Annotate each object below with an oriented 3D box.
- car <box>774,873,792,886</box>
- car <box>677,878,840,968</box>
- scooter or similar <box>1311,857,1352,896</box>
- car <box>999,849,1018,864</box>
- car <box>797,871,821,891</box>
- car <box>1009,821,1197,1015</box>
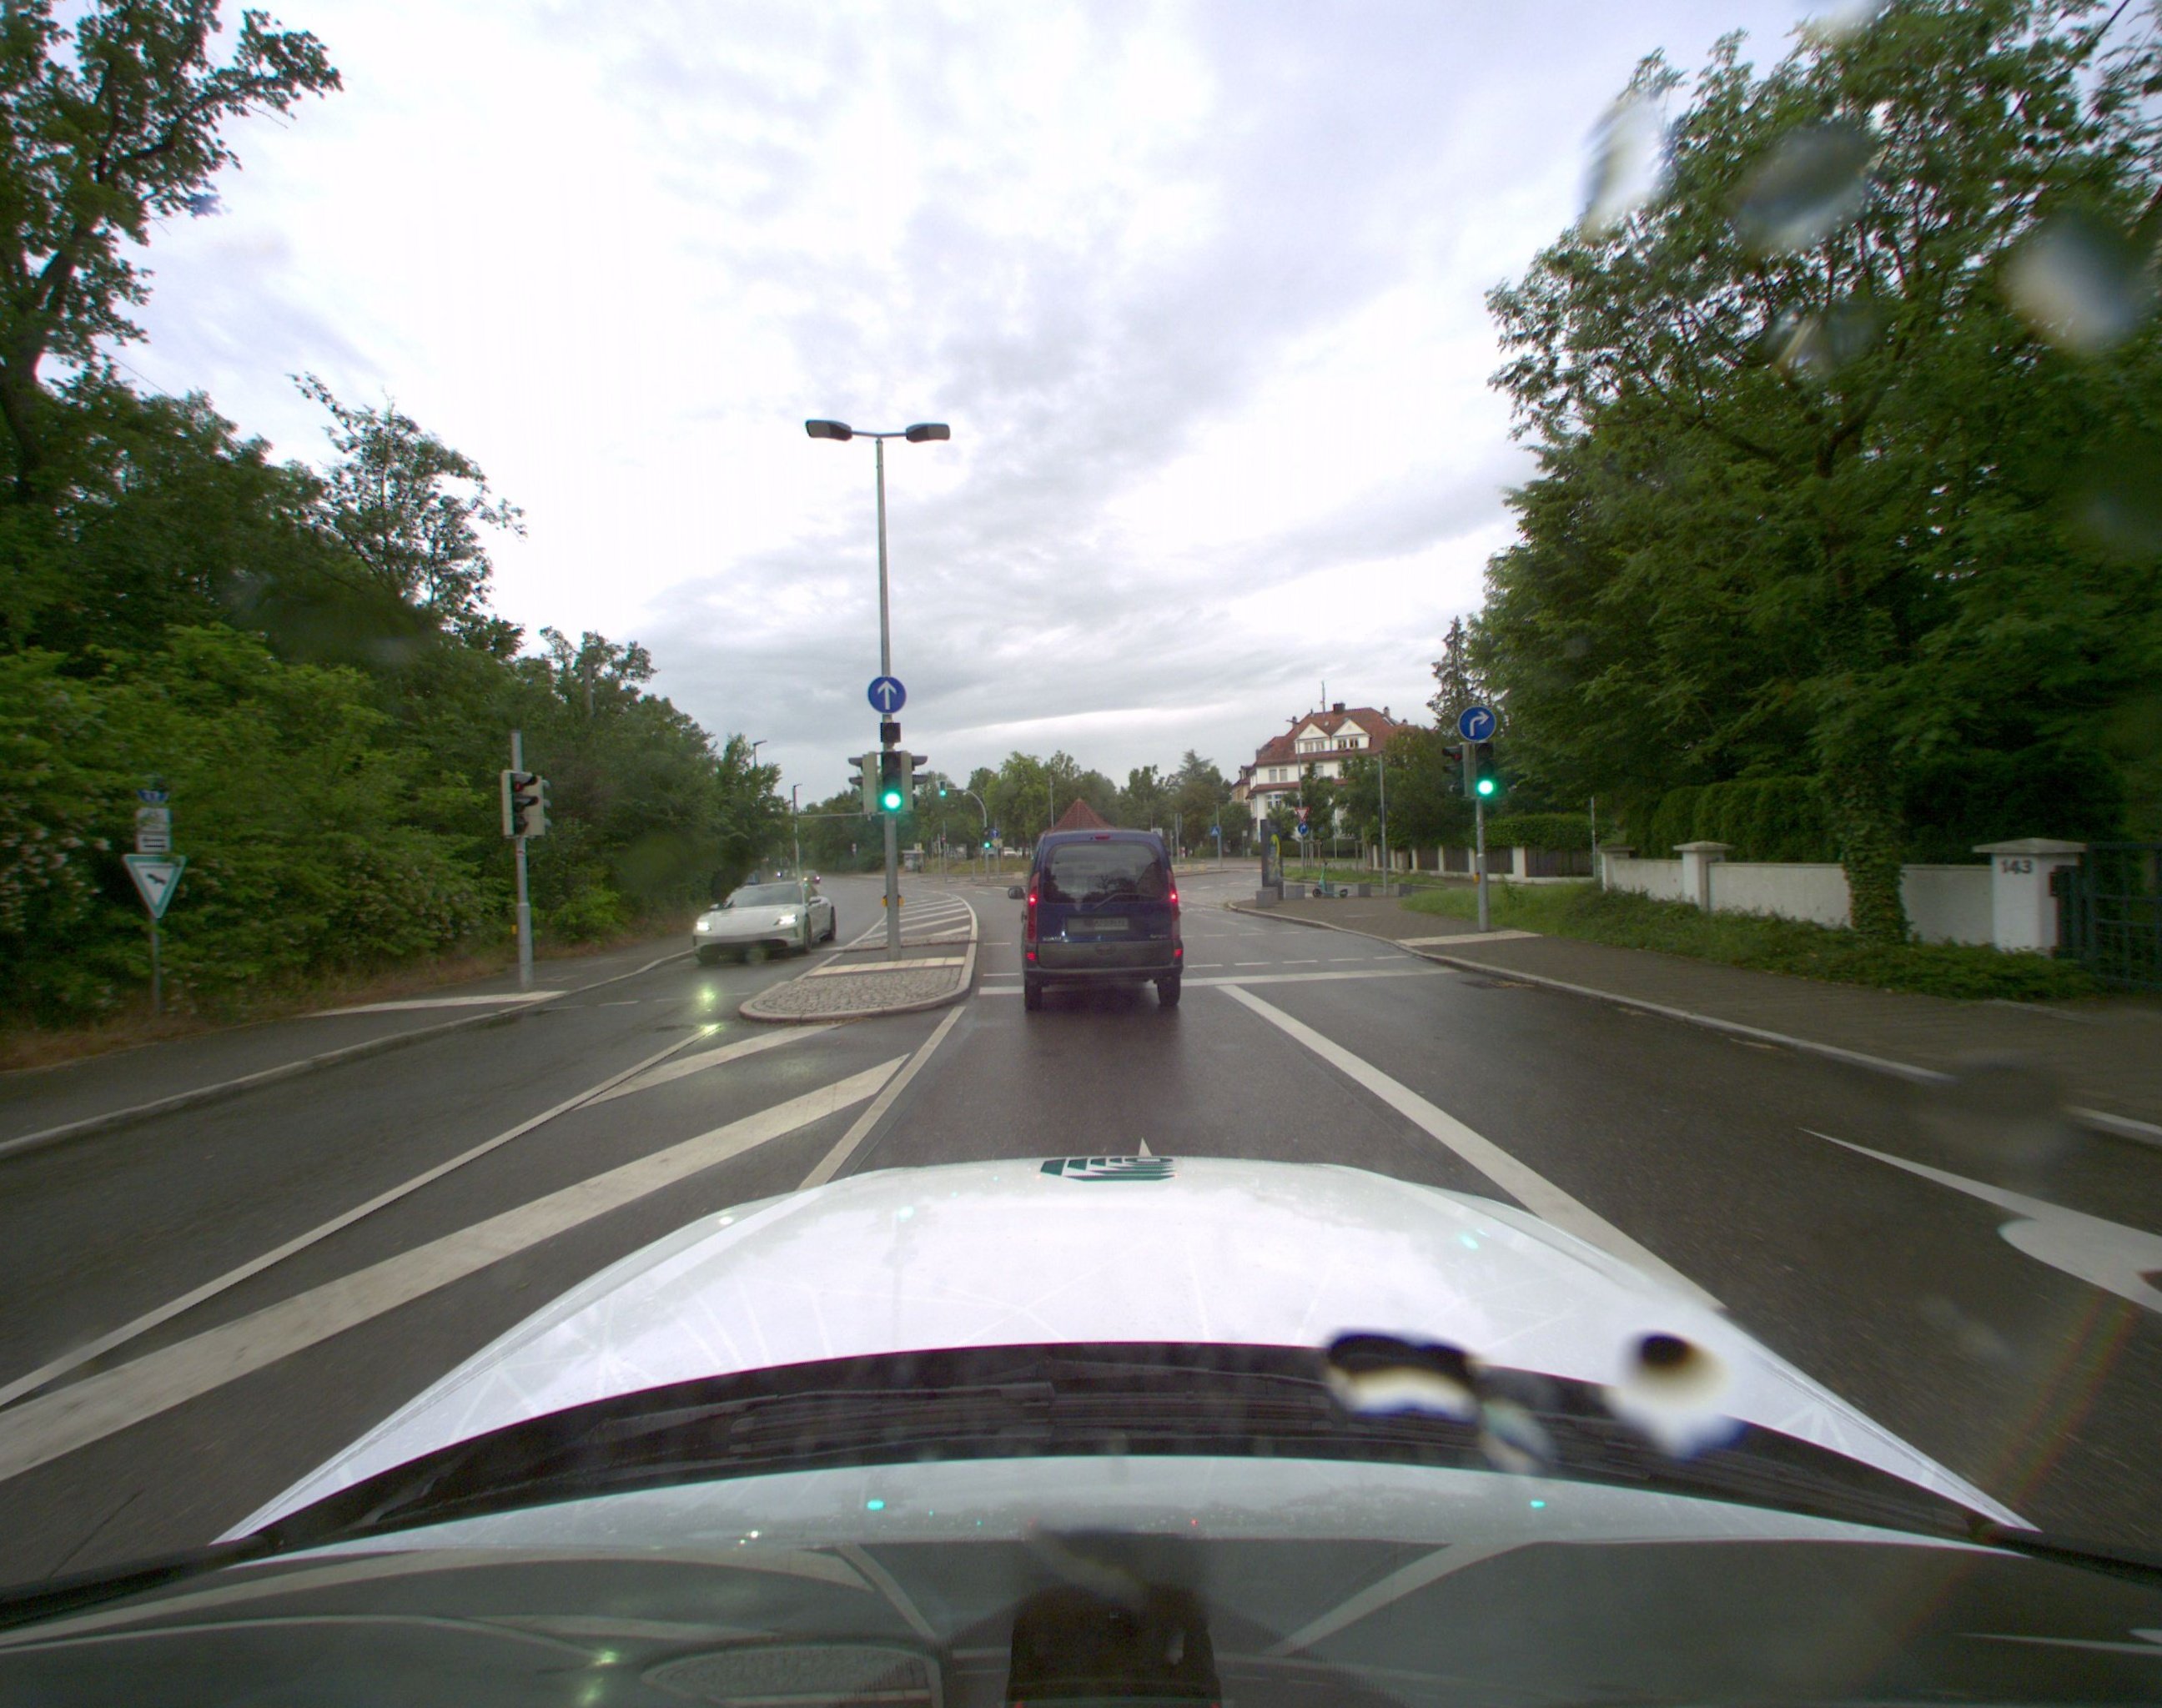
[{"bbox_3d":[-38.316,3.291,104.661,1.999,1.585,3.976,-1,-1,-18],"label":"car"},{"bbox_3d":[-6.245,1.257,16.357,1.993,1.311,4.347,-5,0,-8],"label":"car"},{"bbox_3d":[8.077,0.730,26.301,1.145,1.219,0.406,-2,-2,1],"label":"scooter or similar"},{"bbox_3d":[-9.676,0.358,108.810,1.986,1.812,4.001,-1,-1,2],"label":"car"},{"bbox_3d":[-28.811,2.856,86.229,2.003,2.014,3.967,-1,-1,-24],"label":"car"},{"bbox_3d":[0.212,0.602,9.647,1.726,1.786,3.999,-1,0,0],"label":"car"}]
